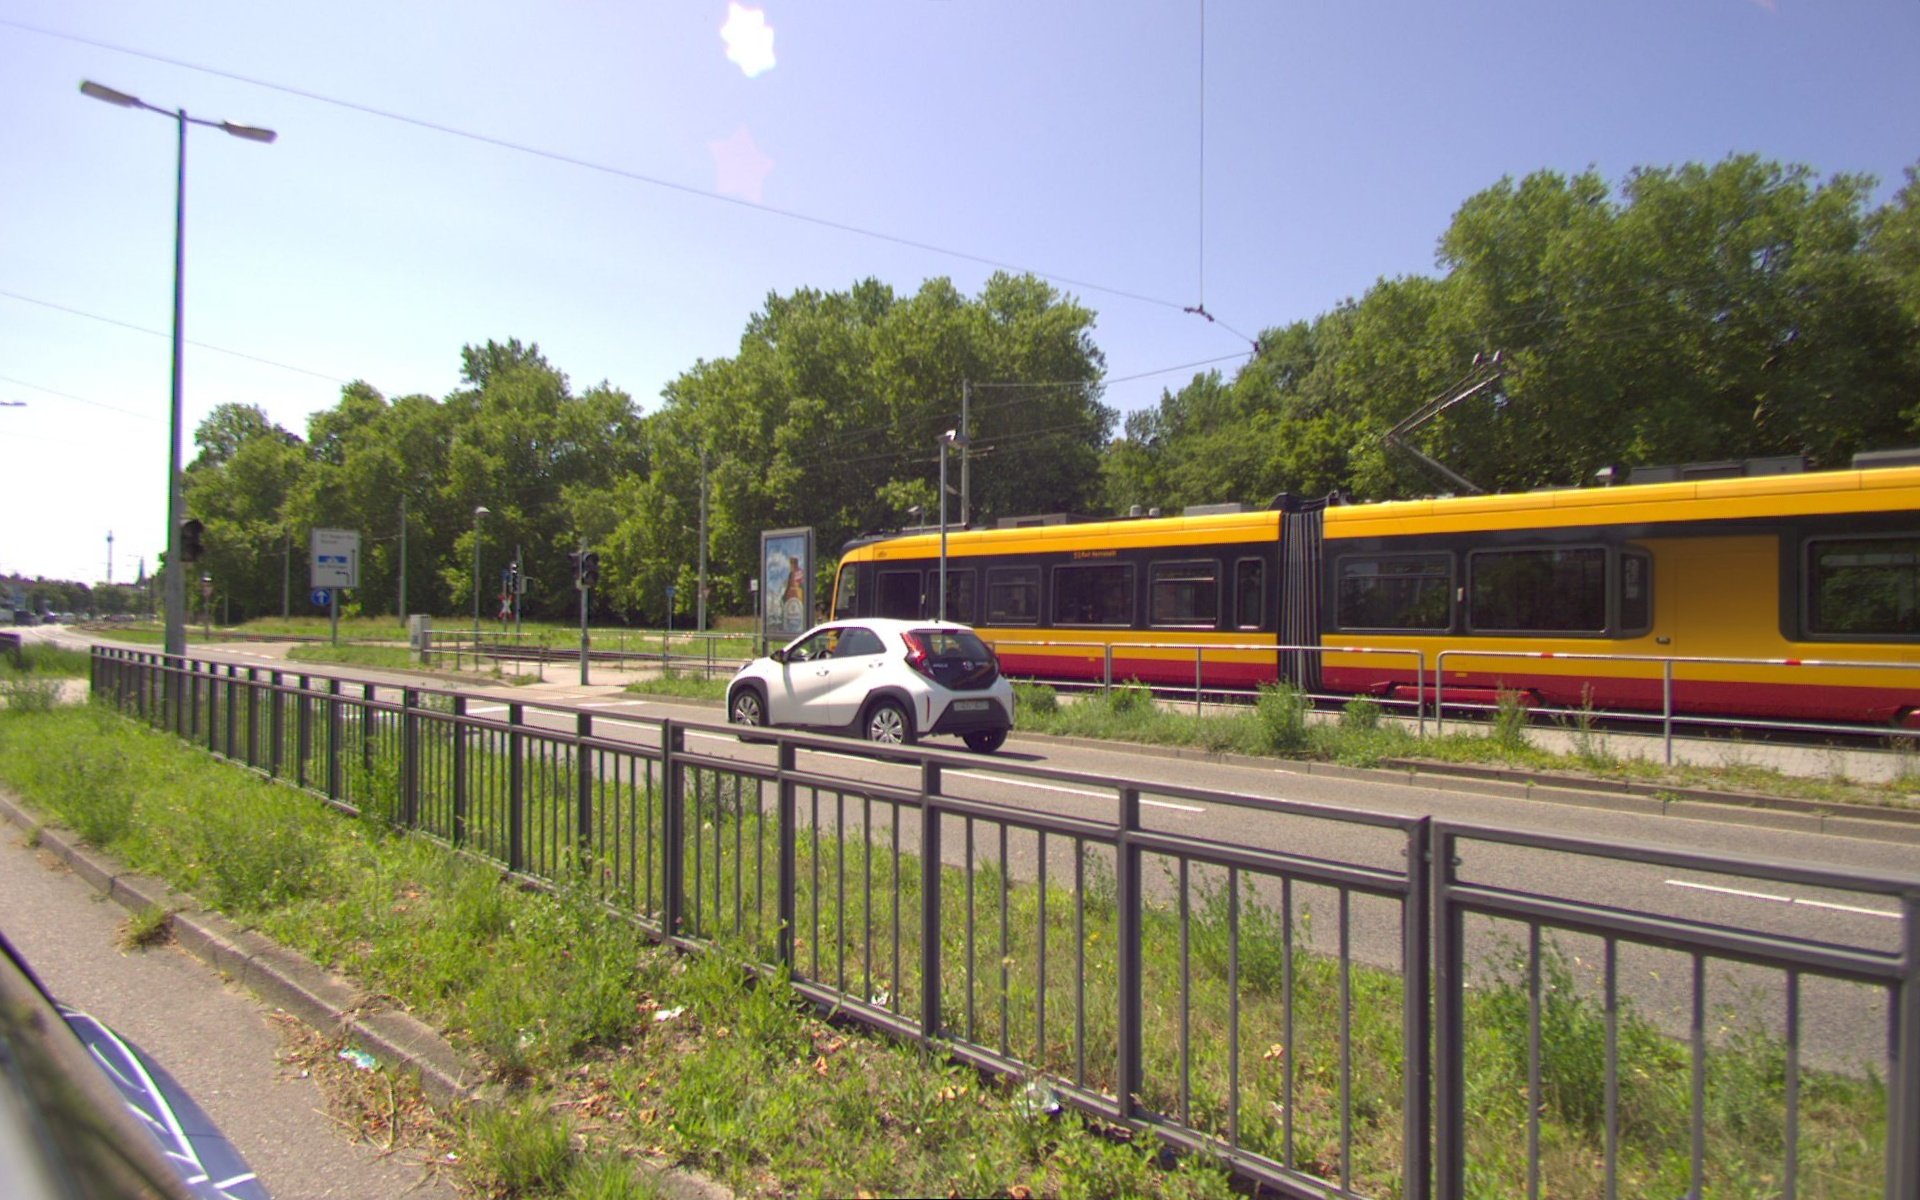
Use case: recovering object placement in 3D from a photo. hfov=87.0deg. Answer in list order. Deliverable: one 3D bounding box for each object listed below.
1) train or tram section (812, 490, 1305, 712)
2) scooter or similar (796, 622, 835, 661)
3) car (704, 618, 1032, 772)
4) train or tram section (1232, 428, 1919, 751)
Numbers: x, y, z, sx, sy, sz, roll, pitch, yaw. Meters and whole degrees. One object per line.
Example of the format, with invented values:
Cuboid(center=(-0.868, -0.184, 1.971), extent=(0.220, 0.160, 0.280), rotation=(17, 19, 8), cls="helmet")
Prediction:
Cuboid(center=(1.517, 0.085, 22.658), extent=(11.539, 3.884, 2.918), rotation=(-1, 0, 42), cls="train or tram section")
Cuboid(center=(-4.765, 1.358, 33.380), extent=(1.100, 1.246, 0.761), rotation=(-1, 0, 43), cls="scooter or similar")
Cuboid(center=(-1.168, 0.996, 11.900), extent=(3.718, 1.516, 1.751), rotation=(-1, -3, 41), cls="car")
Cuboid(center=(10.422, -0.107, 14.543), extent=(12.594, 3.769, 3.011), rotation=(-1, 0, 43), cls="train or tram section")
